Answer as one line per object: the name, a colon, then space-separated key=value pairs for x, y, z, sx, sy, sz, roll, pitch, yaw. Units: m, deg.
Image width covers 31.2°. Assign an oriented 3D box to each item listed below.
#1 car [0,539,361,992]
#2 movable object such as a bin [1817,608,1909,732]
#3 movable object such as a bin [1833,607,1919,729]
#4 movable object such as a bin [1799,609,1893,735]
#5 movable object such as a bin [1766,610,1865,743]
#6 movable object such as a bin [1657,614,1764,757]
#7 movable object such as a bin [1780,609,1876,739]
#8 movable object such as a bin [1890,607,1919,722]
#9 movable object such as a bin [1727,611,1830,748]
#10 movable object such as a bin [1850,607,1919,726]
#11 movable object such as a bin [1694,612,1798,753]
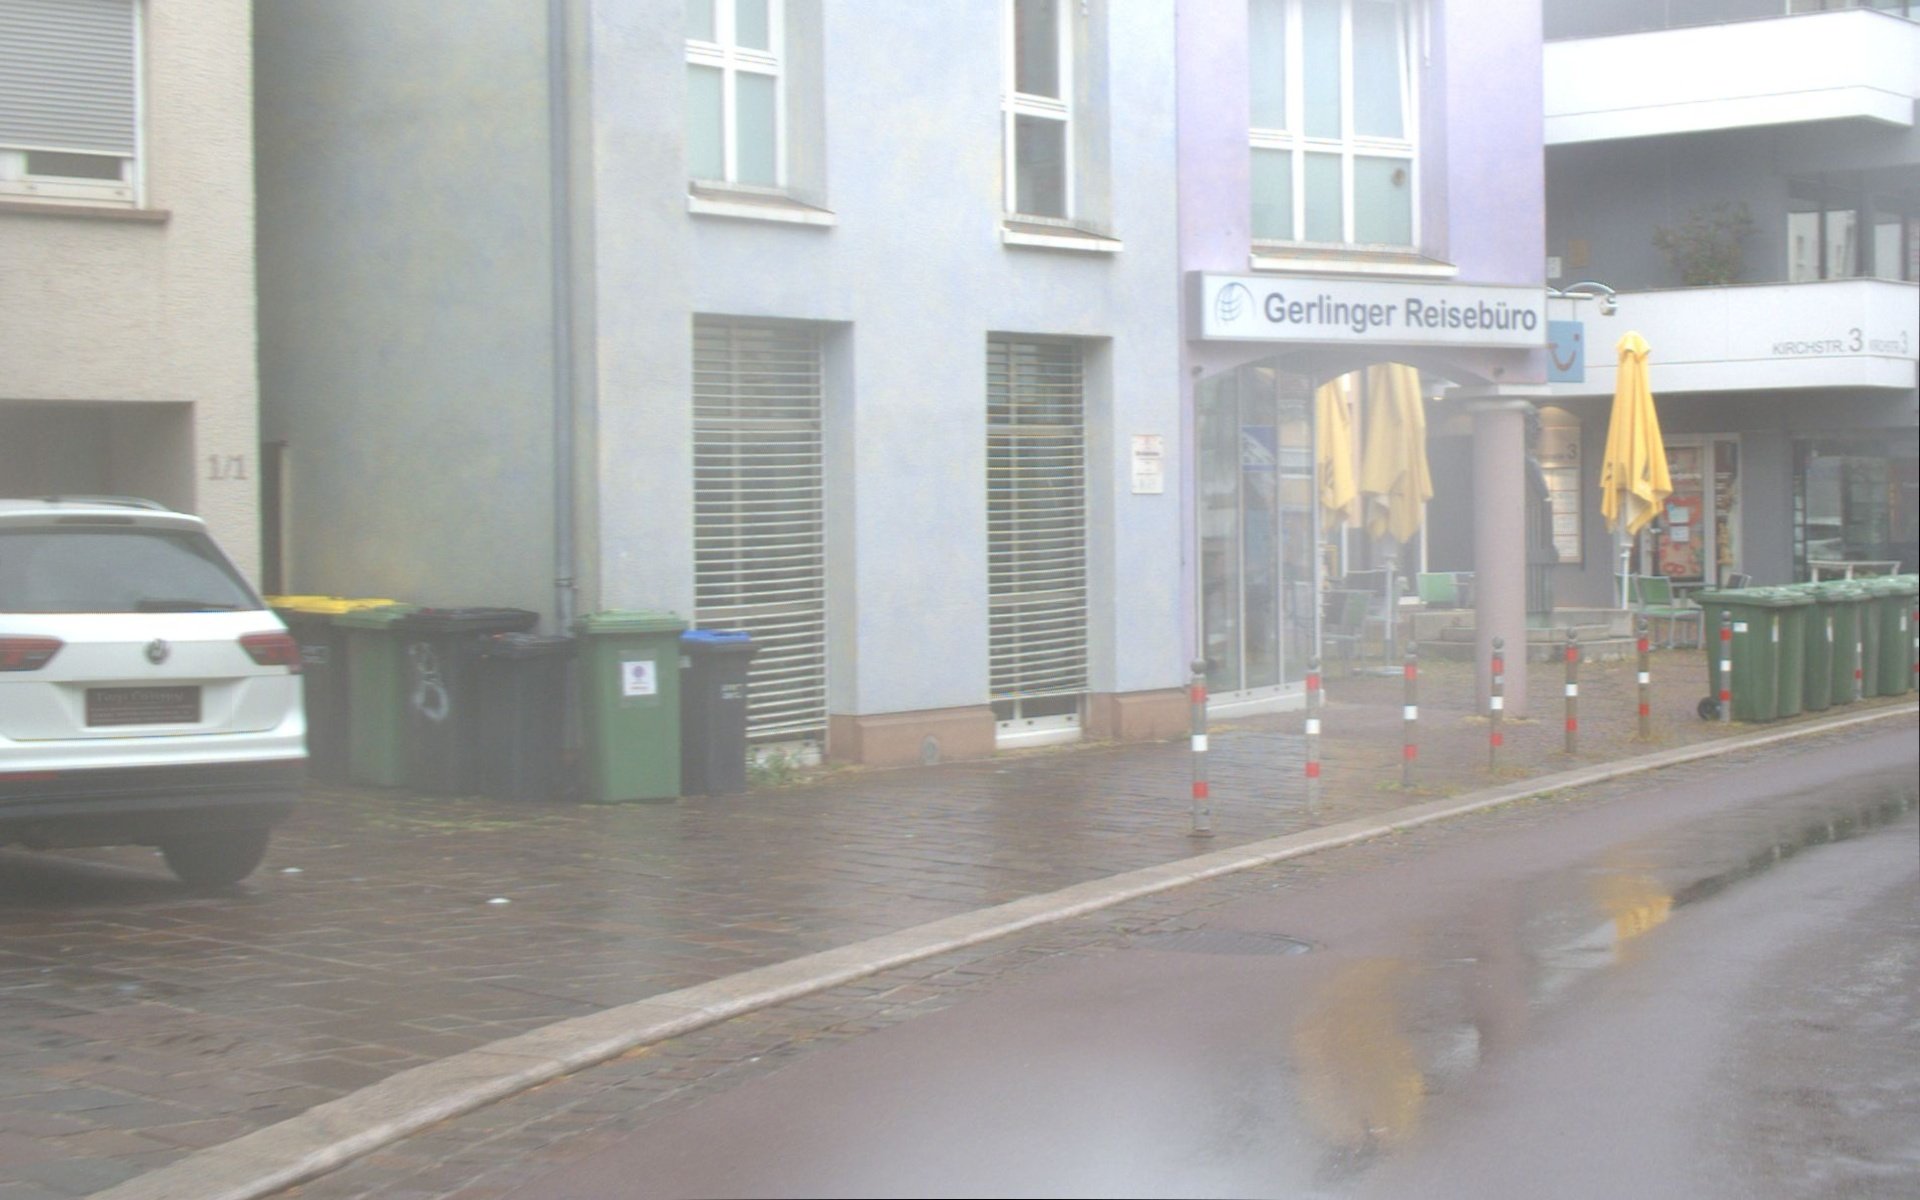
car: x=-4.549 y=0.646 z=14.642 sx=1.995 sy=1.671 sz=3.997 roll=-2 pitch=0 yaw=-44
movable object such as a bin: x=8.450 y=0.654 z=32.176 sx=0.634 sy=1.124 sz=0.576 roll=-3 pitch=-1 yaw=34
movable object such as a bin: x=8.775 y=0.650 z=32.837 sx=0.634 sy=1.124 sz=0.576 roll=-3 pitch=-1 yaw=34
movable object such as a bin: x=8.133 y=0.658 z=31.543 sx=0.634 sy=1.124 sz=0.576 roll=-3 pitch=-1 yaw=34
movable object such as a bin: x=7.465 y=0.663 z=29.998 sx=0.634 sy=1.124 sz=0.576 roll=-3 pitch=-1 yaw=34
movable object such as a bin: x=6.059 y=0.688 z=27.746 sx=0.634 sy=1.124 sz=0.576 roll=-3 pitch=-1 yaw=34
movable object such as a bin: x=7.784 y=0.662 z=30.831 sx=0.634 sy=1.124 sz=0.576 roll=-3 pitch=-1 yaw=34
movable object such as a bin: x=9.586 y=0.624 z=33.850 sx=0.634 sy=1.124 sz=0.576 roll=-3 pitch=-1 yaw=34
movable object such as a bin: x=6.928 y=0.672 z=29.093 sx=0.634 sy=1.124 sz=0.576 roll=-3 pitch=-1 yaw=34
movable object such as a bin: x=9.070 y=0.646 z=33.372 sx=0.634 sy=1.124 sz=0.576 roll=-3 pitch=-1 yaw=34
movable object such as a bin: x=6.493 y=0.680 z=28.397 sx=0.634 sy=1.124 sz=0.576 roll=-3 pitch=-1 yaw=34
